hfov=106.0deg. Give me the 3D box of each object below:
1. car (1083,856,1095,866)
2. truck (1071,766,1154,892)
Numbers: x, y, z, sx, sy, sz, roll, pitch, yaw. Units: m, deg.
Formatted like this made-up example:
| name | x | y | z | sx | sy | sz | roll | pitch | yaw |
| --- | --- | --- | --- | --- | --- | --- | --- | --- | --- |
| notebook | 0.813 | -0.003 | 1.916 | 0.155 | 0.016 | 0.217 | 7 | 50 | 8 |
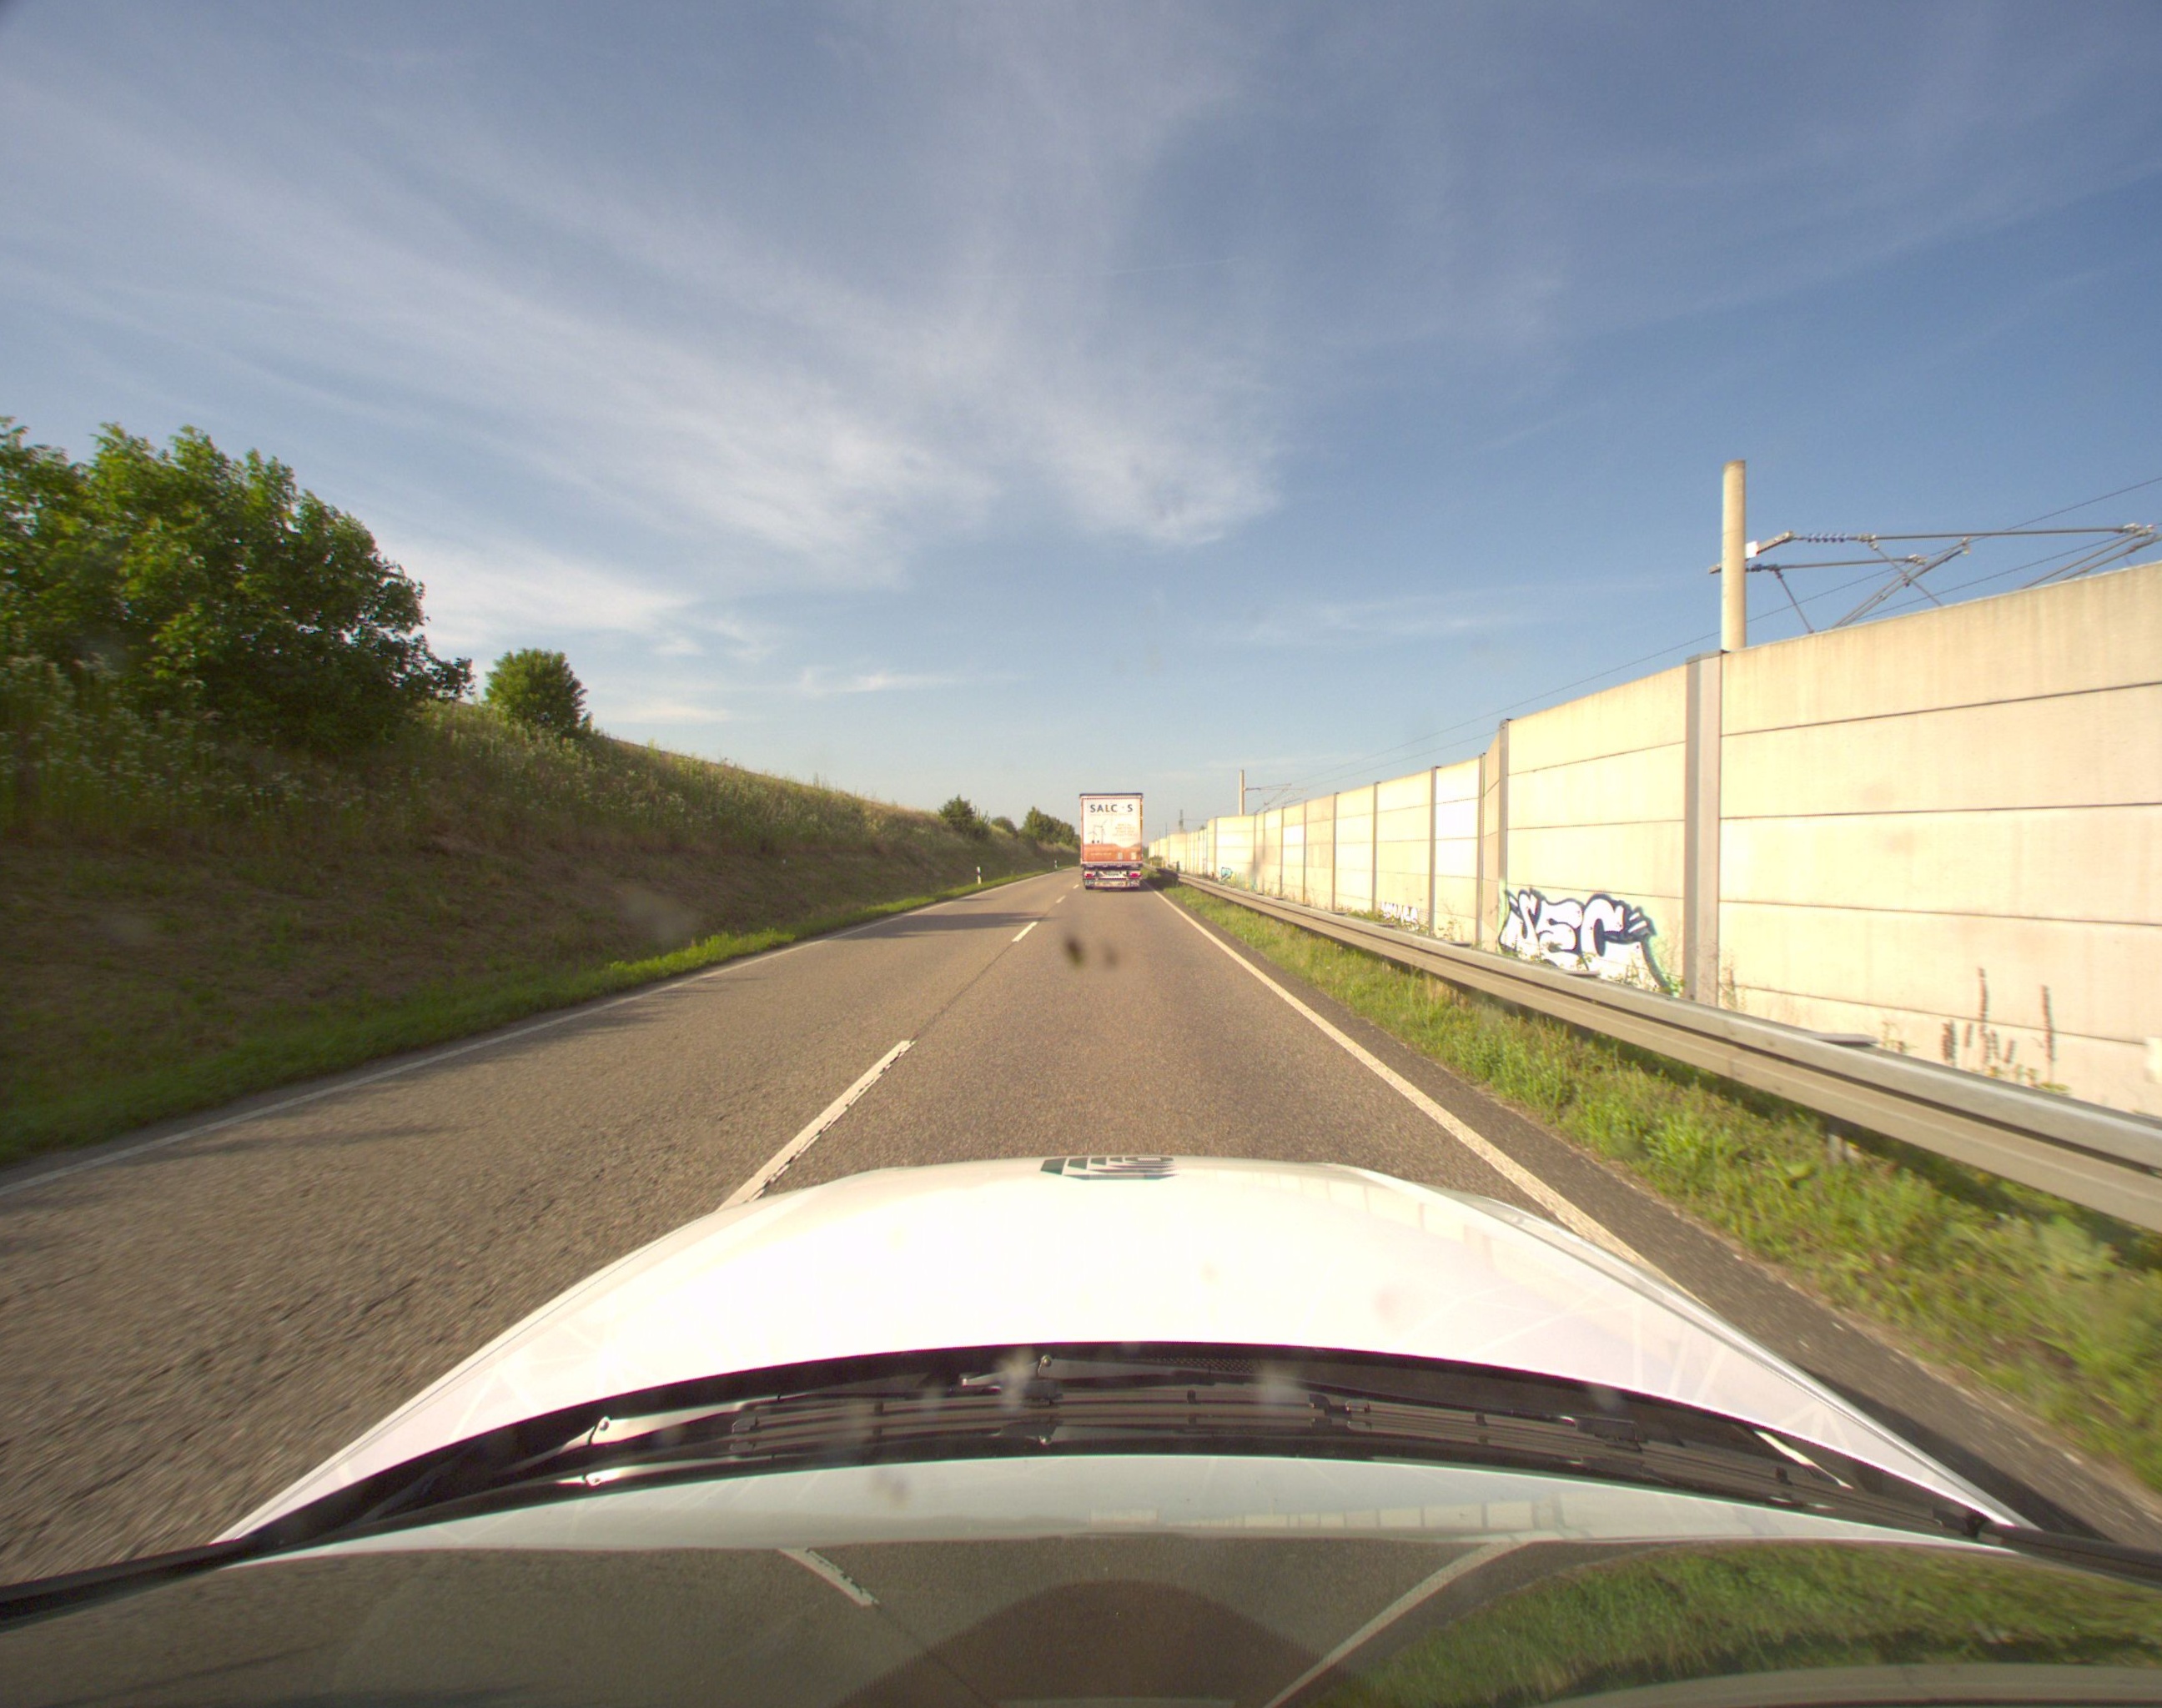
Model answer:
| name | x | y | z | sx | sy | sz | roll | pitch | yaw |
| --- | --- | --- | --- | --- | --- | --- | --- | --- | --- |
| car | 1.192 | 1.043 | 117.983 | 1.710 | 1.453 | 4.019 | 0 | 0 | 1 |
| truck | 1.575 | -1.007 | 39.131 | 3.277 | 5.090 | 12.046 | -1 | 0 | 3 |
